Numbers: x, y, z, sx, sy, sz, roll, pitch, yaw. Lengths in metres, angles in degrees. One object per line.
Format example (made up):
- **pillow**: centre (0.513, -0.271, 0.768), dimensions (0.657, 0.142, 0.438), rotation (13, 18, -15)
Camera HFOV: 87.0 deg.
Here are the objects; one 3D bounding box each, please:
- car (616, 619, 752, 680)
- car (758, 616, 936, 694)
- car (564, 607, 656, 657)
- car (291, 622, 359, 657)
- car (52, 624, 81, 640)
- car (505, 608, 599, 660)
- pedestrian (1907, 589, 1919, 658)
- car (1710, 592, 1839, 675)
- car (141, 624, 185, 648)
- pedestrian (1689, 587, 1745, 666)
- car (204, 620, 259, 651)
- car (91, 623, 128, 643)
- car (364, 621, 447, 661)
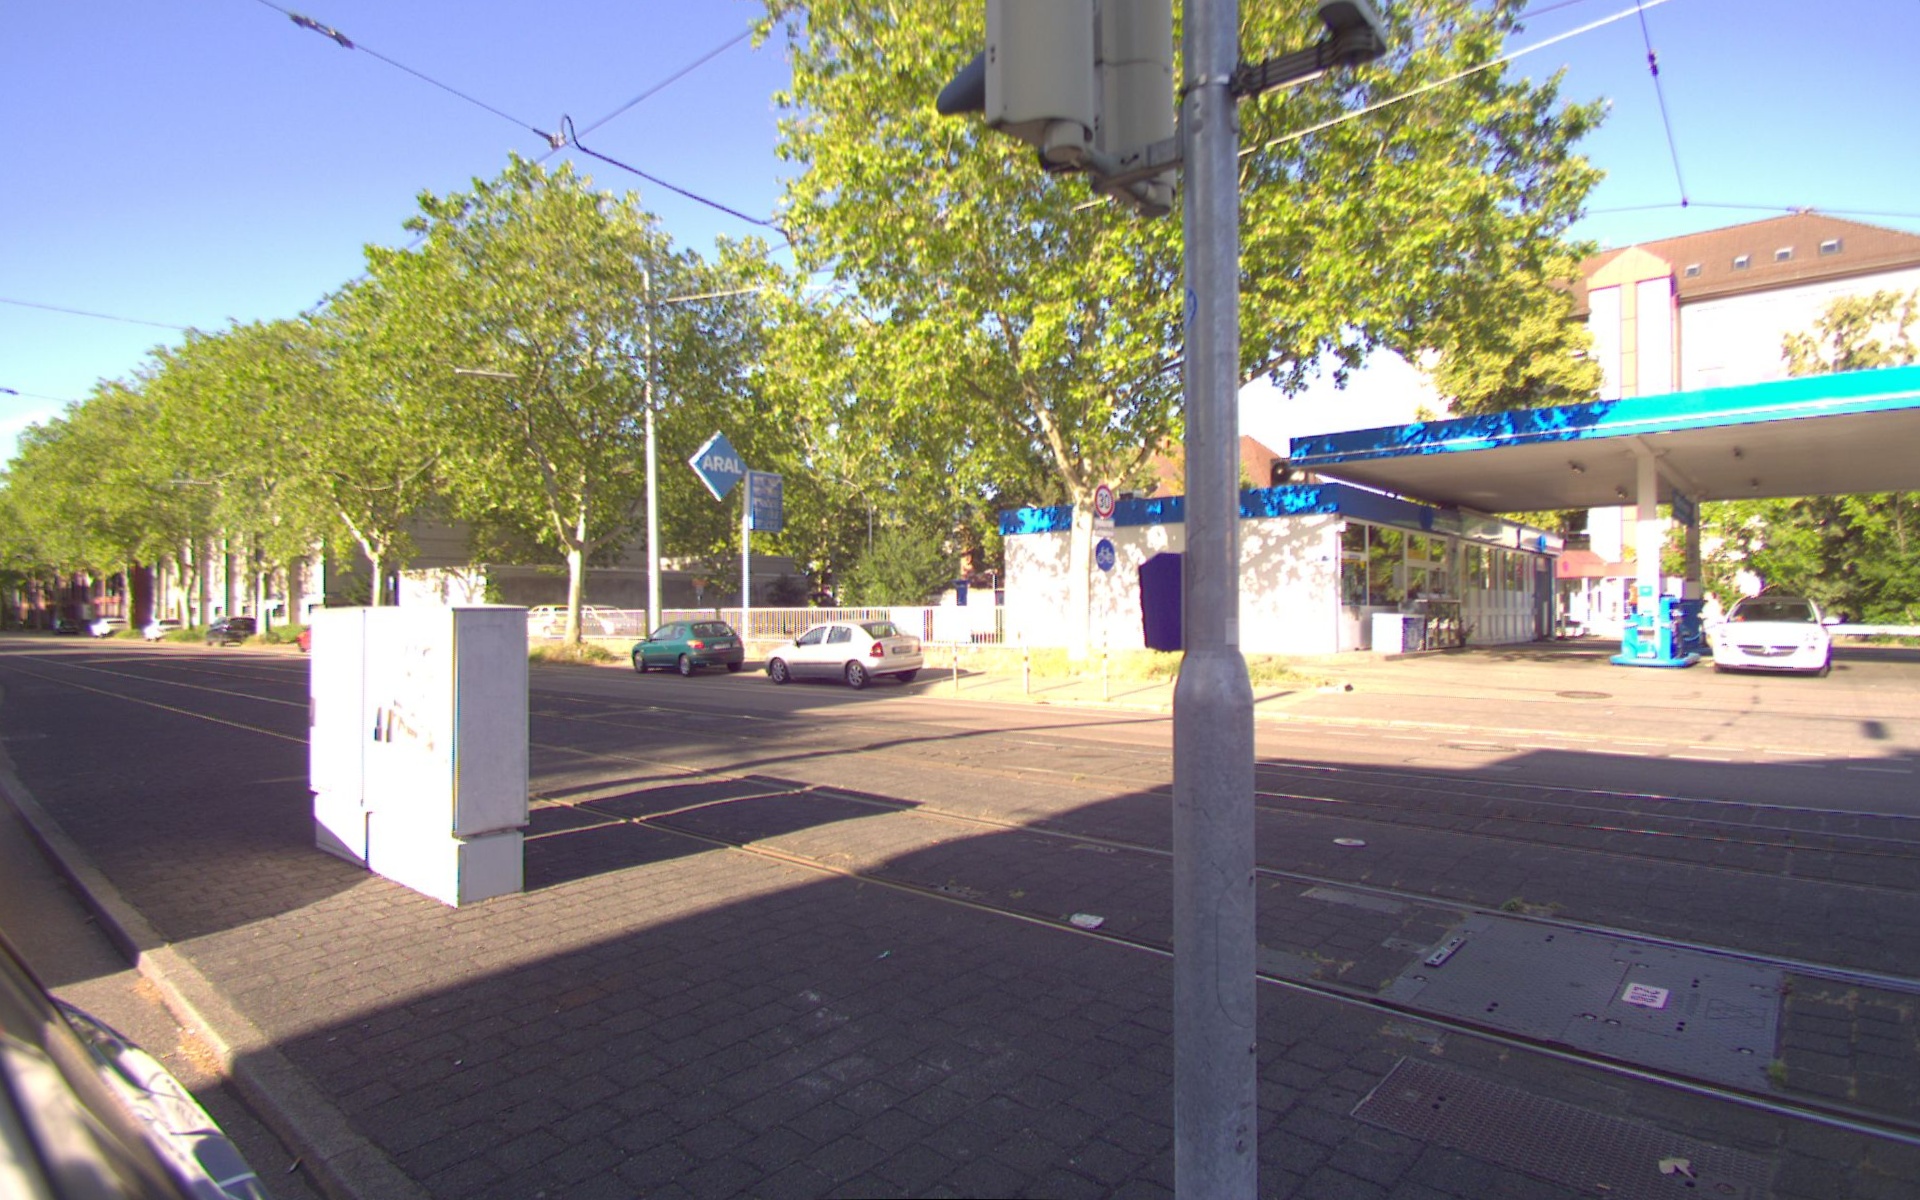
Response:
- **car**: centre (-7.434, 1.275, 27.073), dimensions (3.858, 1.408, 1.722), rotation (-1, 1, 43)
- **car**: centre (-2.573, 1.168, 22.593), dimensions (3.857, 1.497, 1.823), rotation (-1, 1, 42)
- **car**: centre (-15.147, 1.366, 43.686), dimensions (3.996, 2.029, 1.974), rotation (-1, -1, 39)
- **car**: centre (-28.914, 1.776, 46.040), dimensions (3.858, 1.440, 1.695), rotation (-1, 0, 43)
- **car**: centre (-84.879, 3.016, 96.106), dimensions (3.858, 1.495, 1.735), rotation (-1, 0, 43)
- **car**: centre (-17.046, 1.395, 42.258), dimensions (3.996, 2.029, 1.974), rotation (-1, -1, 39)
- **pedestrian**: centre (25.556, 0.614, 26.376), dimensions (0.887, 1.815, 0.907), rotation (-1, -1, 15)
- **car**: centre (15.941, 0.615, 19.781), dimensions (1.793, 1.453, 3.946), rotation (-1, -1, 40)
- **car**: centre (-53.642, 2.401, 68.114), dimensions (3.858, 1.495, 1.735), rotation (-1, 0, 43)
- **pedestrian**: centre (16.077, 0.556, 21.498), dimensions (0.637, 1.642, 0.814), rotation (1, -2, -42)
- **car**: centre (-40.679, 1.957, 56.479), dimensions (3.858, 1.557, 1.735), rotation (-1, 0, 43)
- **car**: centre (-66.931, 2.583, 79.633), dimensions (3.858, 1.495, 1.735), rotation (-1, 0, 43)
- **car**: centre (-21.986, 1.589, 40.087), dimensions (3.858, 1.468, 1.735), rotation (-1, 0, 43)
